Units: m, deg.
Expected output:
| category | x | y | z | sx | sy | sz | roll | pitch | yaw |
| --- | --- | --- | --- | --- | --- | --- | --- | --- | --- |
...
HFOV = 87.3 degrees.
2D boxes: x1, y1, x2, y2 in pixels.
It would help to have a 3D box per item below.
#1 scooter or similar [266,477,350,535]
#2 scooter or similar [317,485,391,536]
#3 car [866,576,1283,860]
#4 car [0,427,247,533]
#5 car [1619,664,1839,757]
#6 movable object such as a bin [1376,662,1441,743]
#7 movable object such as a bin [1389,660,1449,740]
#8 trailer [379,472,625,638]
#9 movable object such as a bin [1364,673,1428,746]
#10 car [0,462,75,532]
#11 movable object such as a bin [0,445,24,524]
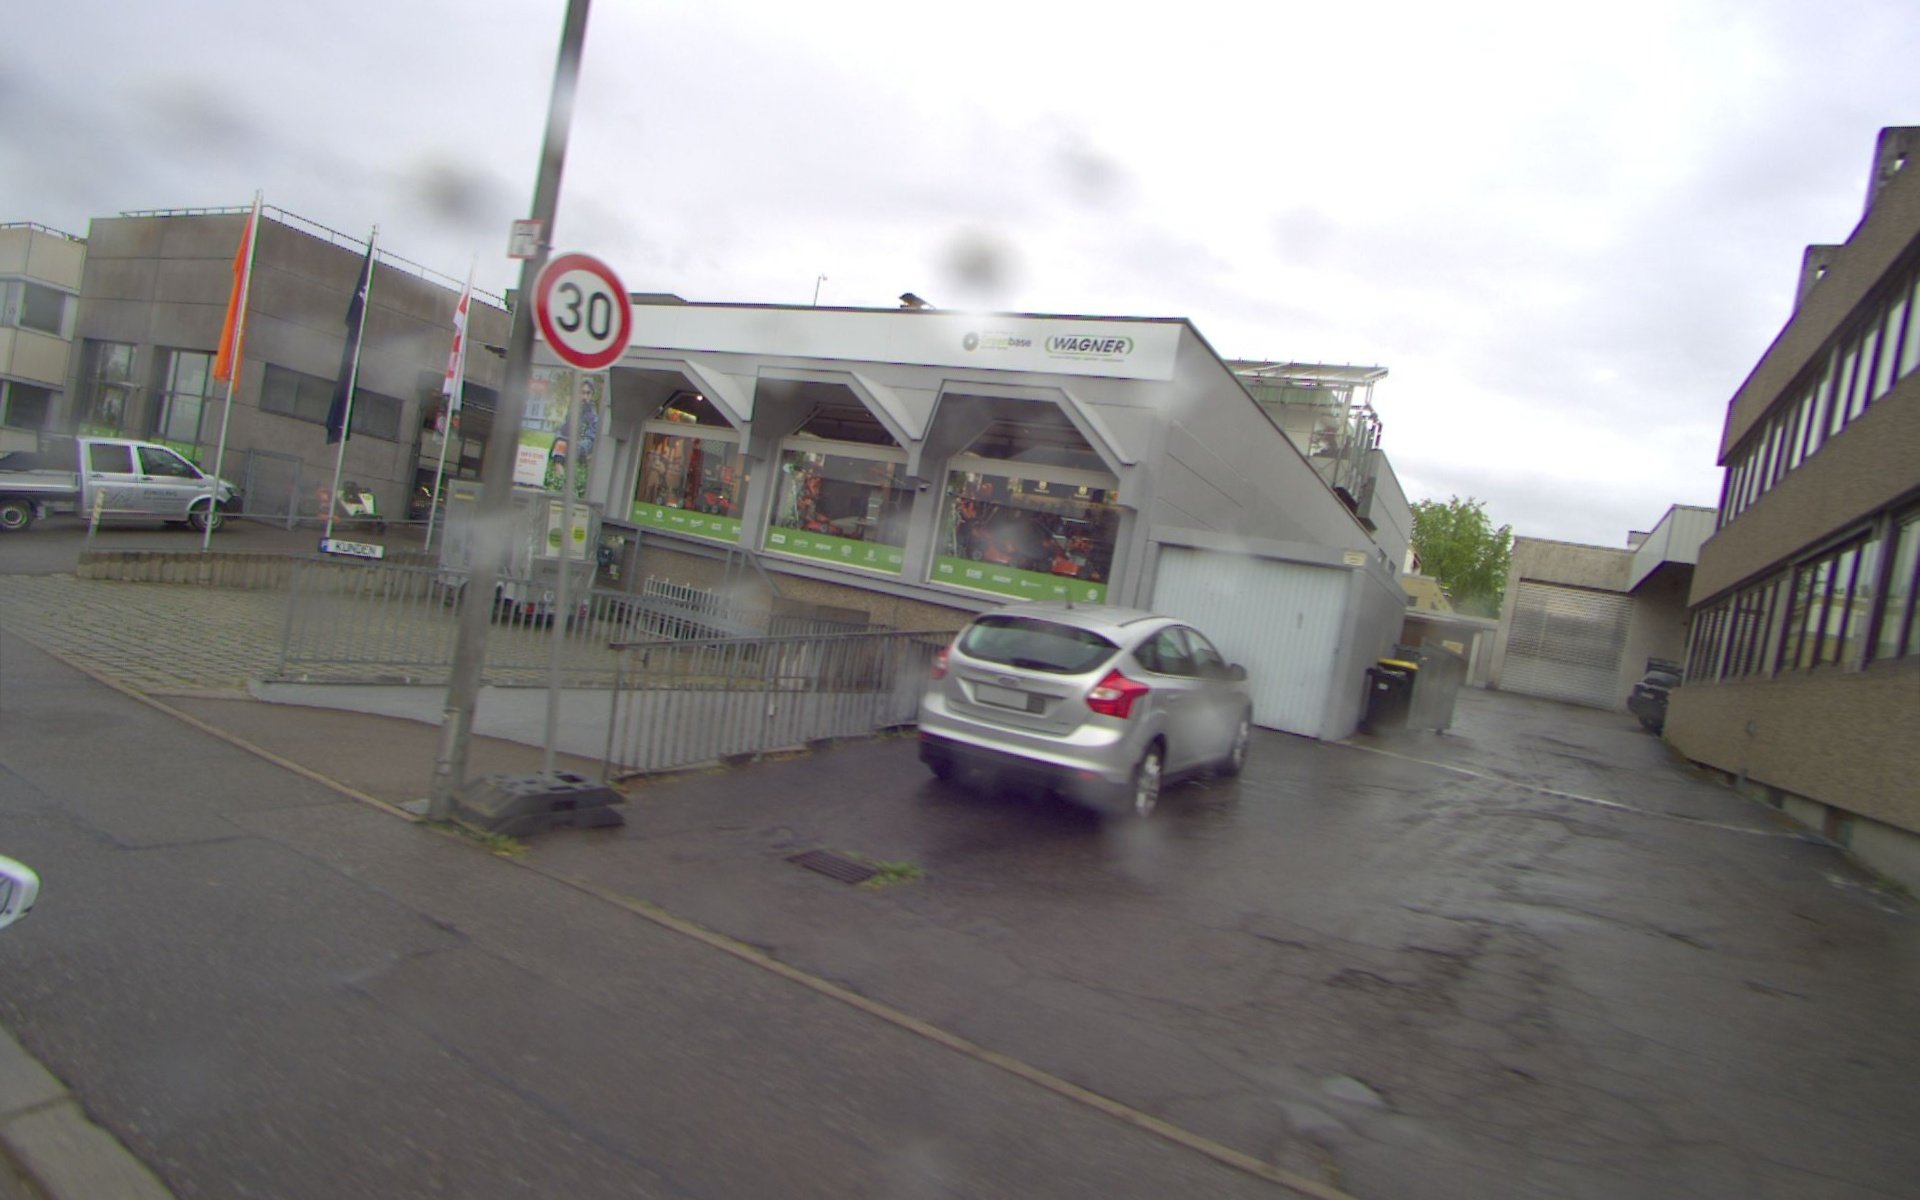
| category | x | y | z | sx | sy | sz | roll | pitch | yaw |
| --- | --- | --- | --- | --- | --- | --- | --- | --- | --- |
| scooter or similar | -17.202 | -2.487 | 26.540 | 2.030 | 1.242 | 1.064 | 10 | 5 | 32 |
| scooter or similar | -16.648 | -2.462 | 27.630 | 1.815 | 1.171 | 1.003 | 8 | 4 | 32 |
| car | 1.241 | 0.802 | 8.534 | 1.969 | 1.594 | 4.125 | 7 | 1 | 29 |
| car | -18.727 | -2.532 | 21.469 | 2.184 | 2.044 | 5.291 | 7 | 7 | 29 |
| car | 19.042 | 2.693 | 25.095 | 3.757 | 1.589 | 1.863 | 7 | 2 | 10 |
| movable object such as a bin | 6.764 | 1.531 | 15.151 | 0.610 | 1.094 | 1.017 | 8 | 1 | 33 |
| movable object such as a bin | 7.381 | 1.595 | 16.166 | 0.610 | 1.153 | 1.017 | 8 | 1 | 33 |
| trailer | -8.618 | -0.861 | 18.859 | 4.235 | 2.446 | 1.890 | 9 | 1 | 31 |
| movable object such as a bin | 6.181 | 1.533 | 14.245 | 0.610 | 0.909 | 0.803 | 8 | 1 | 33 |
| car | -26.591 | -2.979 | 26.033 | 1.892 | 1.633 | 5.101 | 9 | 1 | 28 |
| movable object such as a bin | -28.205 | -3.432 | 26.904 | 1.451 | 2.136 | 4.261 | 8 | 0 | 30 |
